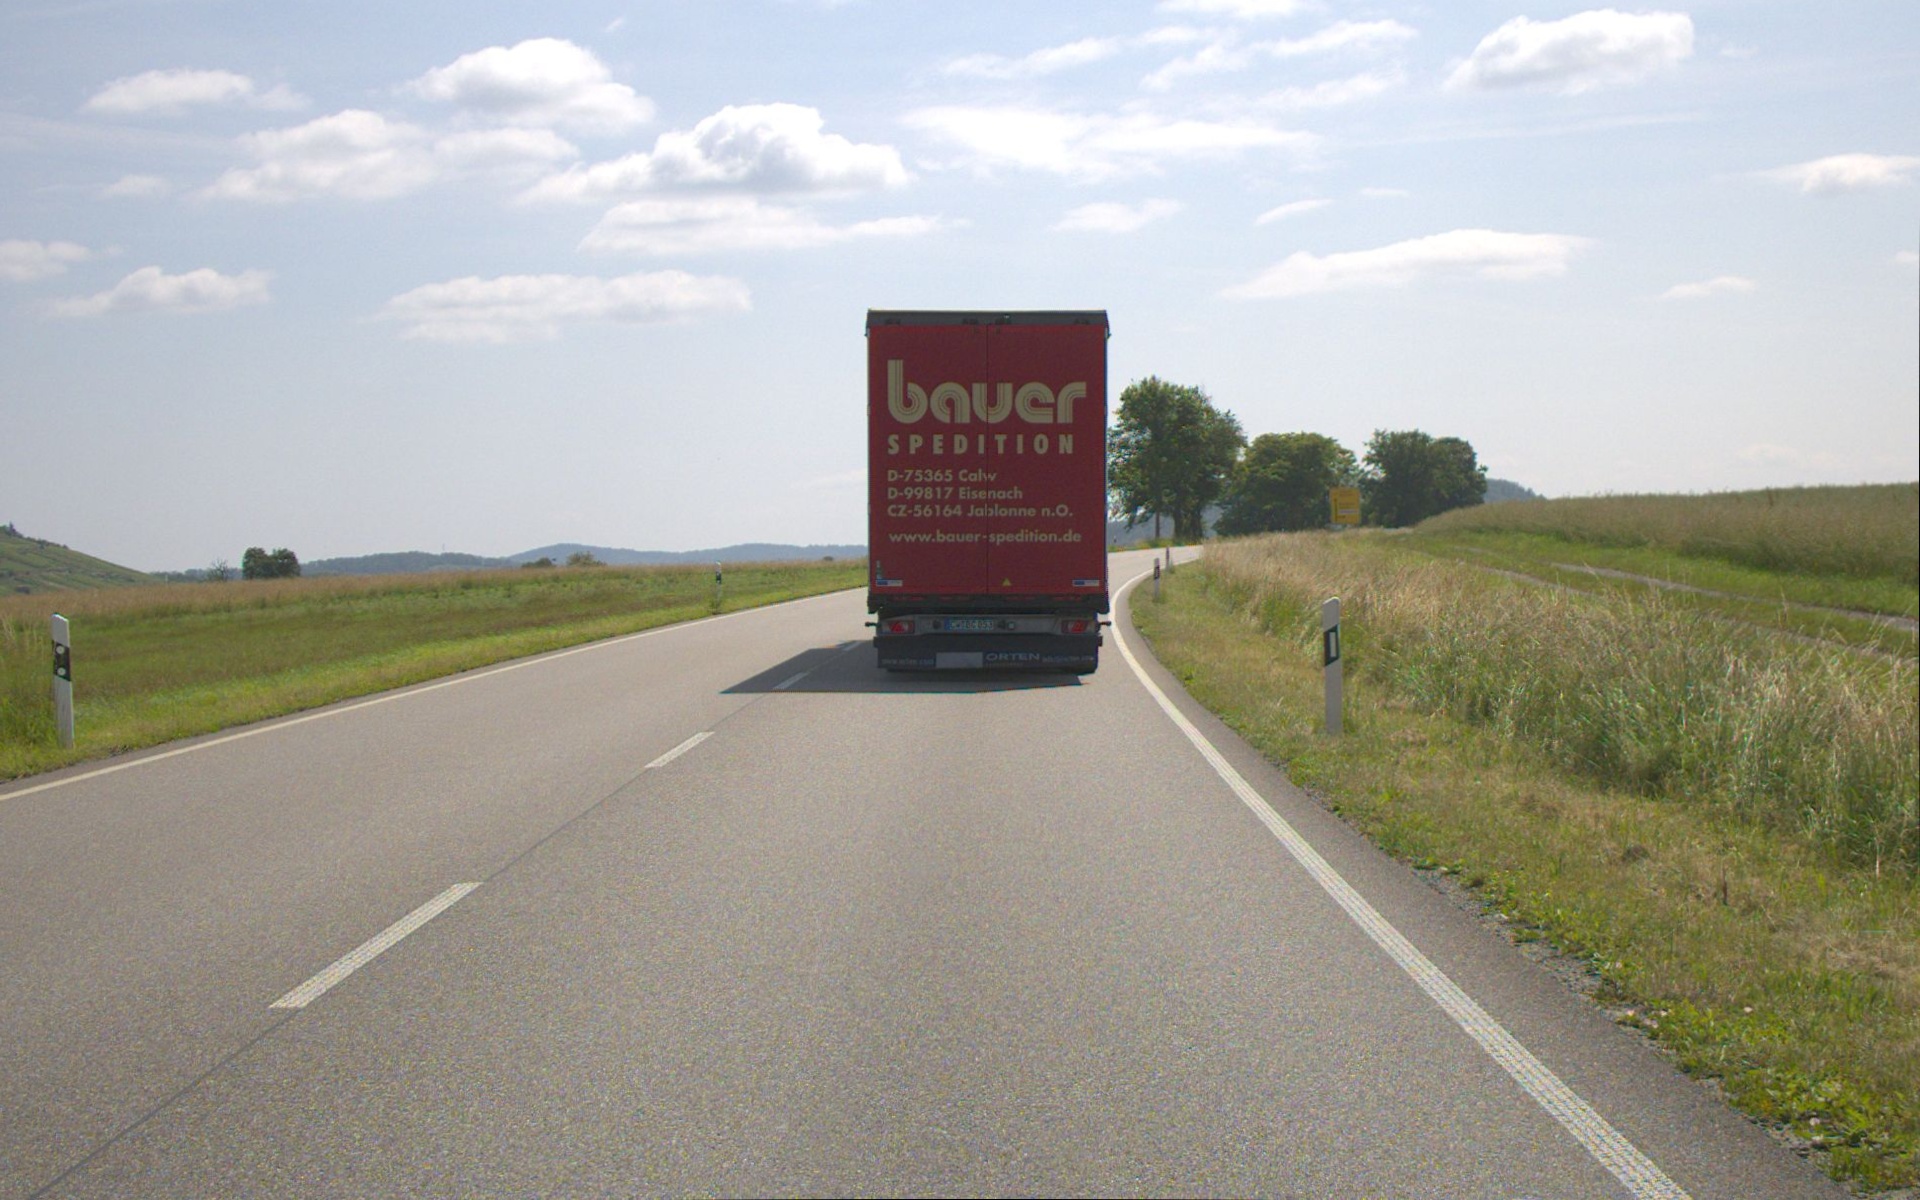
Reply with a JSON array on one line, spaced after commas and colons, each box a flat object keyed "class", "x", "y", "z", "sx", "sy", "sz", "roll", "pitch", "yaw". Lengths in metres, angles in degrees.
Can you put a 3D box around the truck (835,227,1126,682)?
[{"class": "truck", "x": 0.373, "y": -1.598, "z": 40.415, "sx": 2.975, "sy": 4.697, "sz": 9.366, "roll": 1, "pitch": 1, "yaw": 2}]
